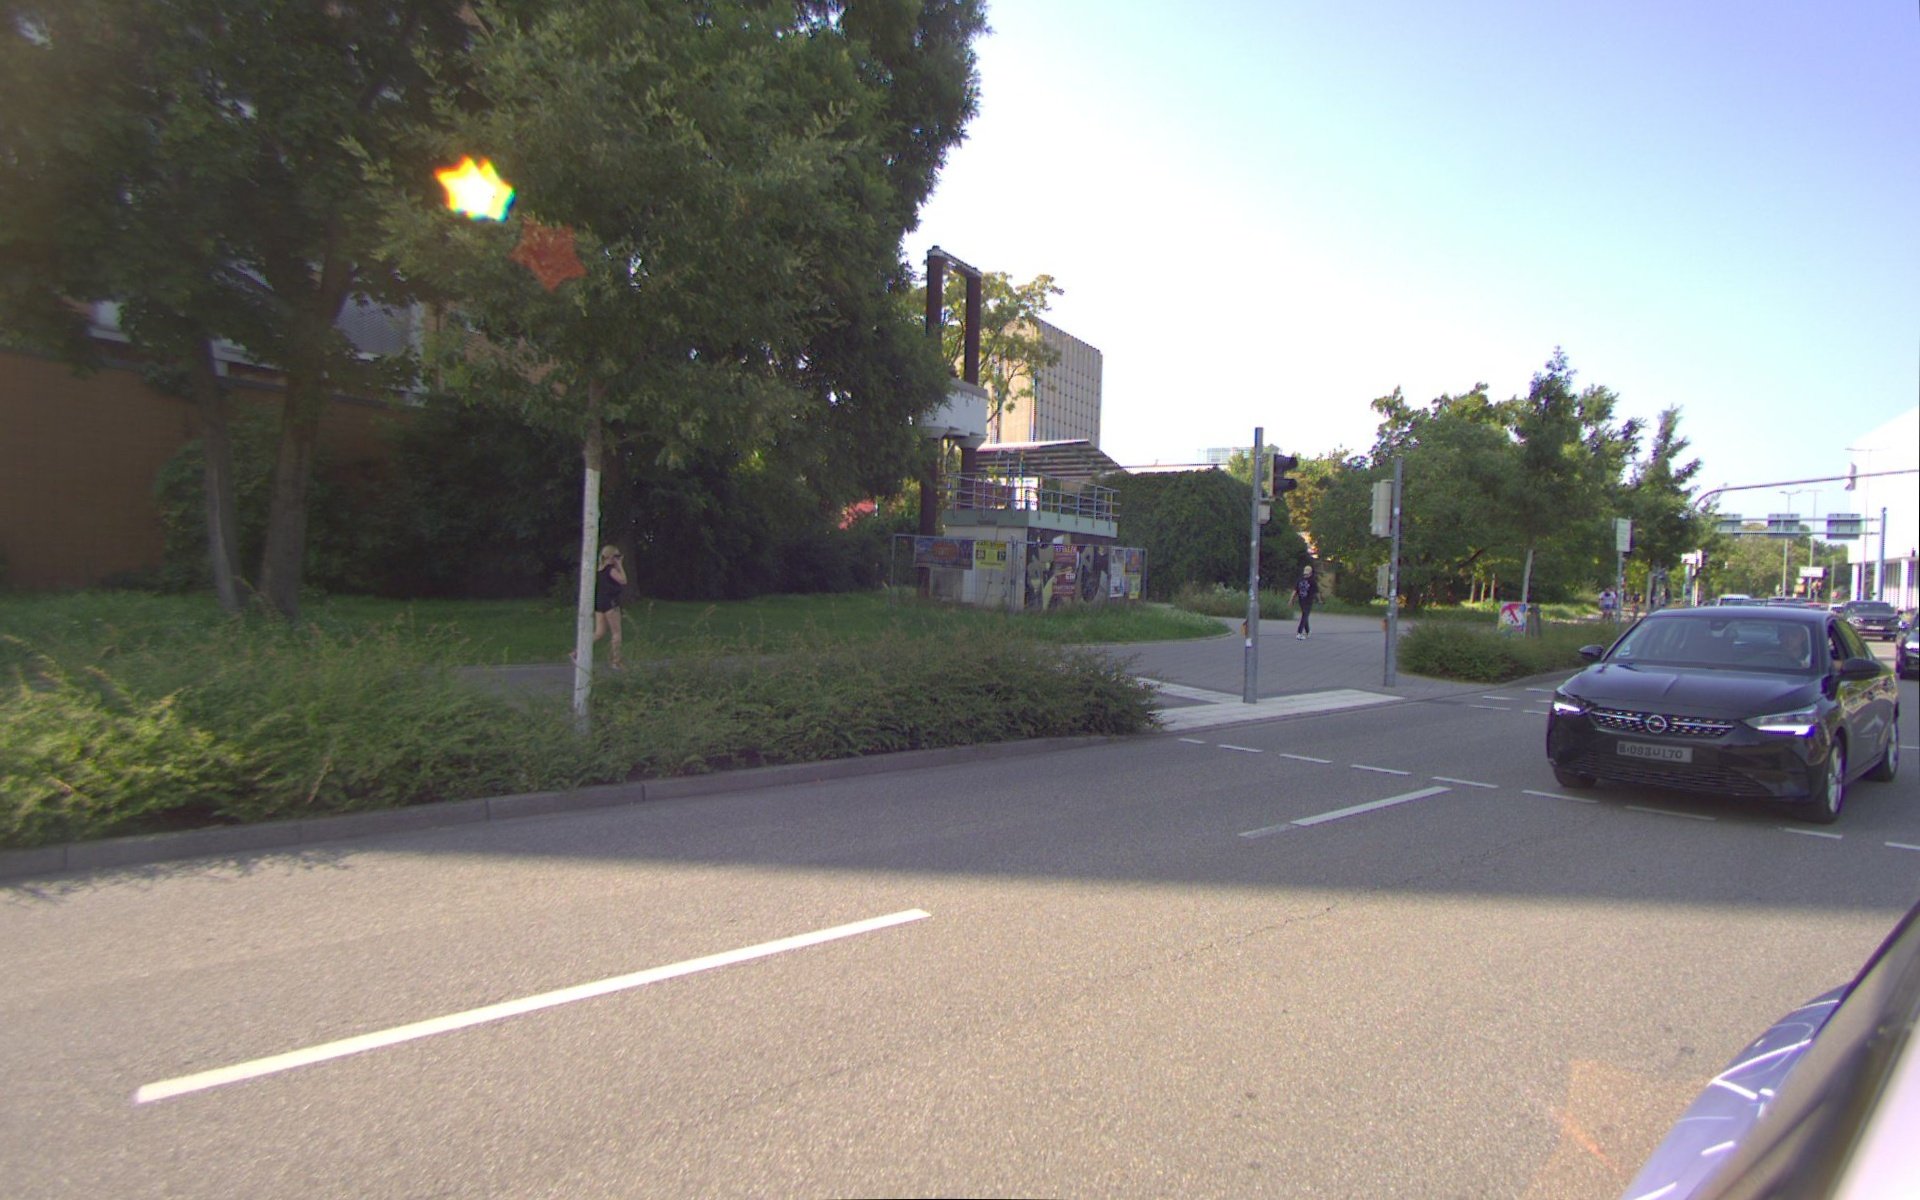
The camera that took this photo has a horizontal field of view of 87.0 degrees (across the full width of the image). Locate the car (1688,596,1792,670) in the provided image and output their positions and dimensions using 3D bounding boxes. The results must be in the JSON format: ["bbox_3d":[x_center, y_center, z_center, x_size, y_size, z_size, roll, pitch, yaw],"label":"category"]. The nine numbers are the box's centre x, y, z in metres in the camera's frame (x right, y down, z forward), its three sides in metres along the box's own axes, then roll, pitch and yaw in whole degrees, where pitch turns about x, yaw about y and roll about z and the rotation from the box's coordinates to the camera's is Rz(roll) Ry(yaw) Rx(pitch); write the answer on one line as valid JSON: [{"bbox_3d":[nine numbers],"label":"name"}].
[{"bbox_3d":[17.327,0.647,22.443,1.680,1.461,4.310,1,1,39],"label":"car"}]

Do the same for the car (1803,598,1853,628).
[{"bbox_3d":[47.916,0.665,55.906,1.678,1.510,4.315,3,2,36],"label":"car"}]

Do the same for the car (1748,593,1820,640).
[{"bbox_3d":[29.200,0.530,35.959,1.678,1.510,4.612,3,2,36],"label":"car"}]

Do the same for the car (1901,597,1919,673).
[{"bbox_3d":[20.488,0.698,20.585,1.831,1.453,4.481,2,2,42],"label":"car"}]

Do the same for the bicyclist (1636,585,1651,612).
[{"bbox_3d":[44.695,-0.105,66.204,0.768,1.697,0.913,2,1,34],"label":"bicyclist"}]

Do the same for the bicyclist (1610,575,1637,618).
[{"bbox_3d":[25.477,-0.127,38.866,0.769,1.613,0.912,2,1,37],"label":"bicyclist"}]

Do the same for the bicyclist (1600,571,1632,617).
[{"bbox_3d":[23.880,-0.221,36.836,0.771,1.612,0.910,3,2,43],"label":"bicyclist"}]

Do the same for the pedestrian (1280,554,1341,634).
[{"bbox_3d":[8.398,-0.154,24.248,0.986,1.804,0.959,1,3,-44],"label":"pedestrian"}]

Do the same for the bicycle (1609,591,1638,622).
[{"bbox_3d":[25.530,0.230,38.948,0.769,1.131,2.273,2,1,37],"label":"bicycle"}]

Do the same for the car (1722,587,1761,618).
[{"bbox_3d":[52.980,0.163,68.657,1.677,1.966,4.319,3,2,34],"label":"car"}]

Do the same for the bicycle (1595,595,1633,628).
[{"bbox_3d":[23.760,0.405,36.737,0.771,1.131,2.268,3,2,42],"label":"bicycle"}]

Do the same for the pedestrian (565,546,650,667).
[{"bbox_3d":[-4.452,0.064,12.764,0.840,1.461,0.727,1,1,-33],"label":"pedestrian"}]

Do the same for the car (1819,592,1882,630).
[{"bbox_3d":[41.850,0.472,47.631,1.774,1.625,4.363,3,2,36],"label":"car"}]

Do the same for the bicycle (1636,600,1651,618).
[{"bbox_3d":[44.722,0.580,66.263,0.768,1.131,2.276,2,1,34],"label":"bicycle"}]

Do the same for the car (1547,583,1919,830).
[{"bbox_3d":[6.489,0.648,8.282,4.297,1.510,1.685,0,1,-42],"label":"car"}]

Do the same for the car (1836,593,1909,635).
[{"bbox_3d":[36.633,0.527,40.717,1.678,1.510,4.315,3,2,36],"label":"car"}]
